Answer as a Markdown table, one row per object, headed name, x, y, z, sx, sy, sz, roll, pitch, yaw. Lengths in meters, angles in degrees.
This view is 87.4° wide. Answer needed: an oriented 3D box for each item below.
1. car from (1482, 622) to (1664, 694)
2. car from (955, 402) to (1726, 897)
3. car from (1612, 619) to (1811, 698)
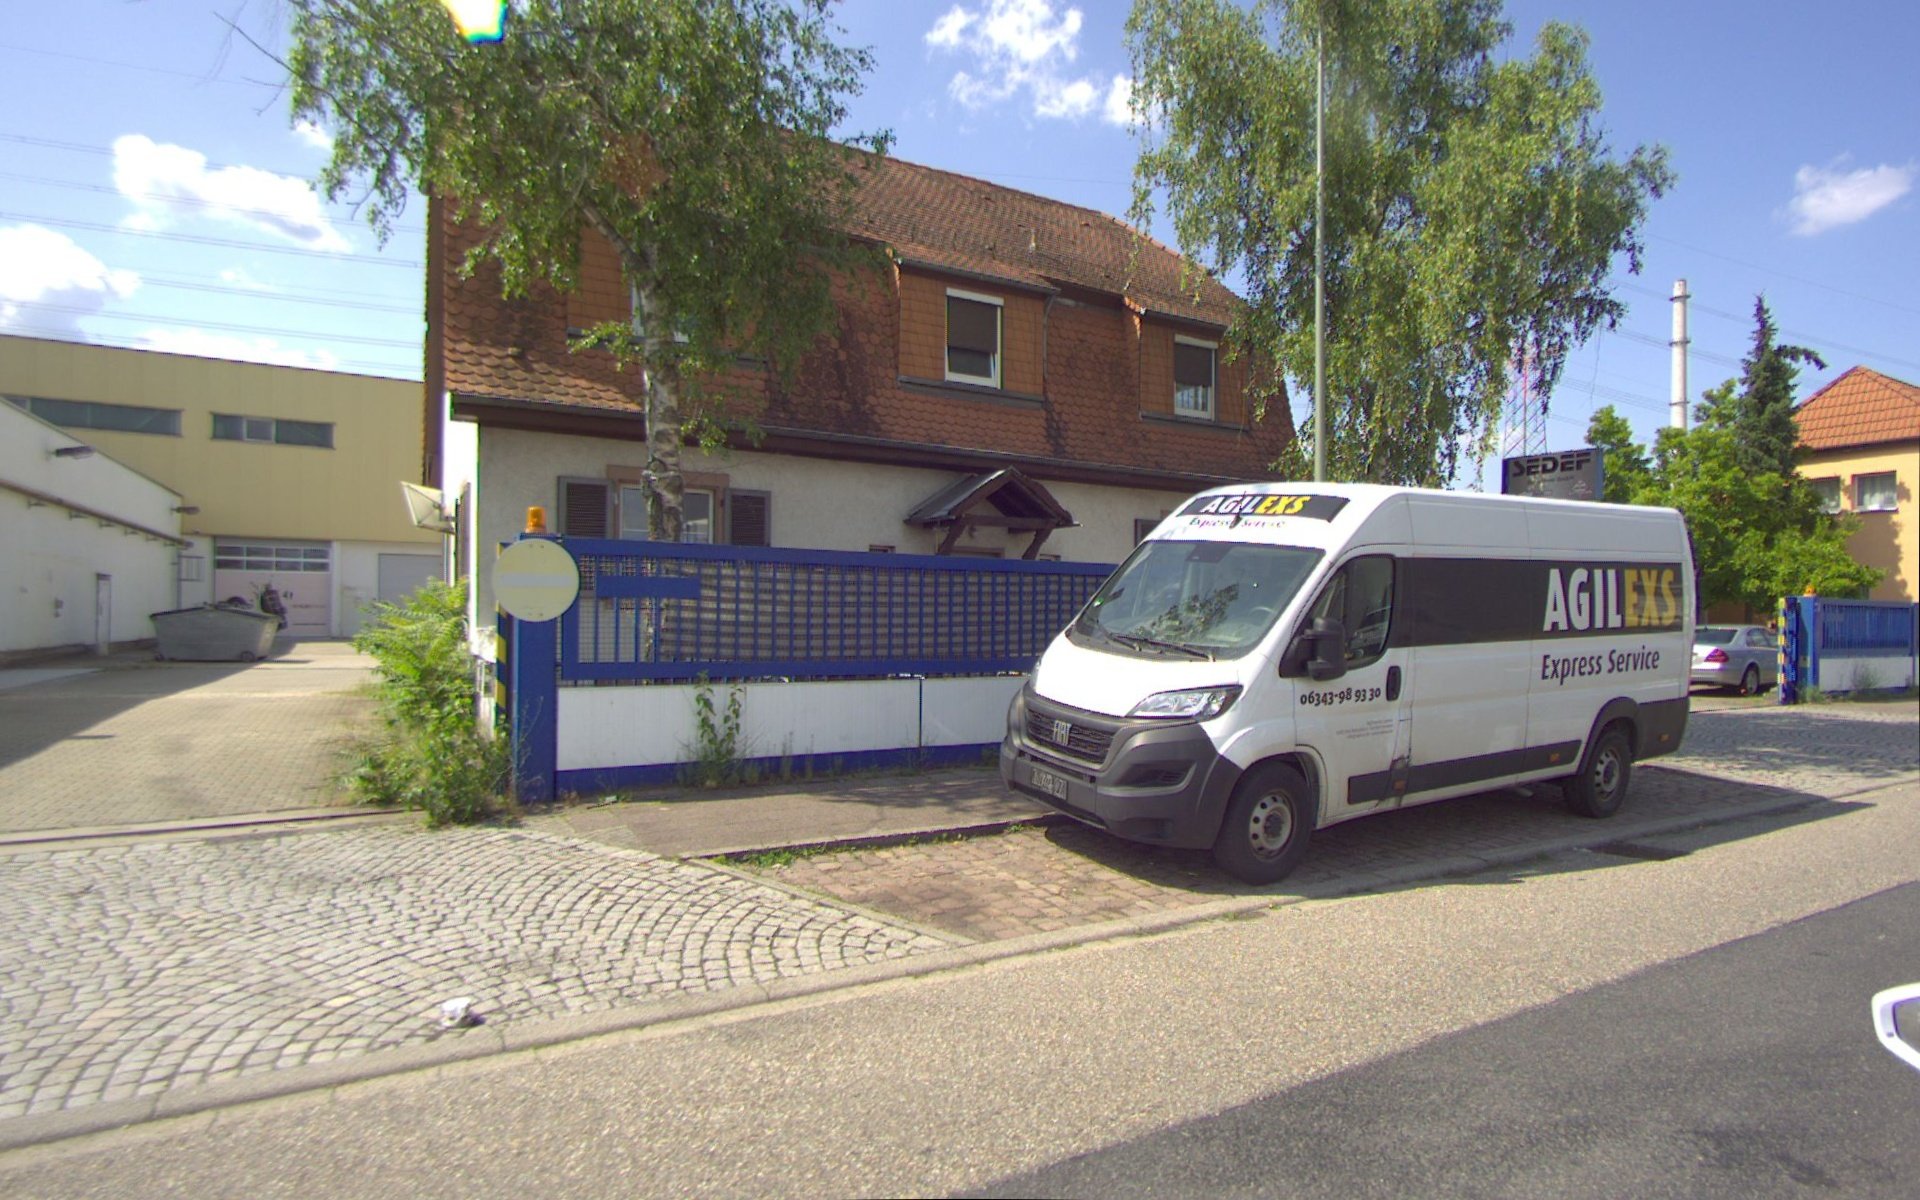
| name | x | y | z | sx | sy | sz | roll | pitch | yaw |
| --- | --- | --- | --- | --- | --- | --- | --- | --- | --- |
| car | 14.878 | 1.340 | 24.356 | 4.255 | 1.487 | 1.793 | -1 | 0 | -27 |
| car | 3.316 | 0.328 | 7.868 | 6.583 | 2.592 | 2.019 | 2 | 1 | -32 |
| car | 16.222 | 1.214 | 21.674 | 4.090 | 1.482 | 1.859 | -1 | -2 | -28 |
